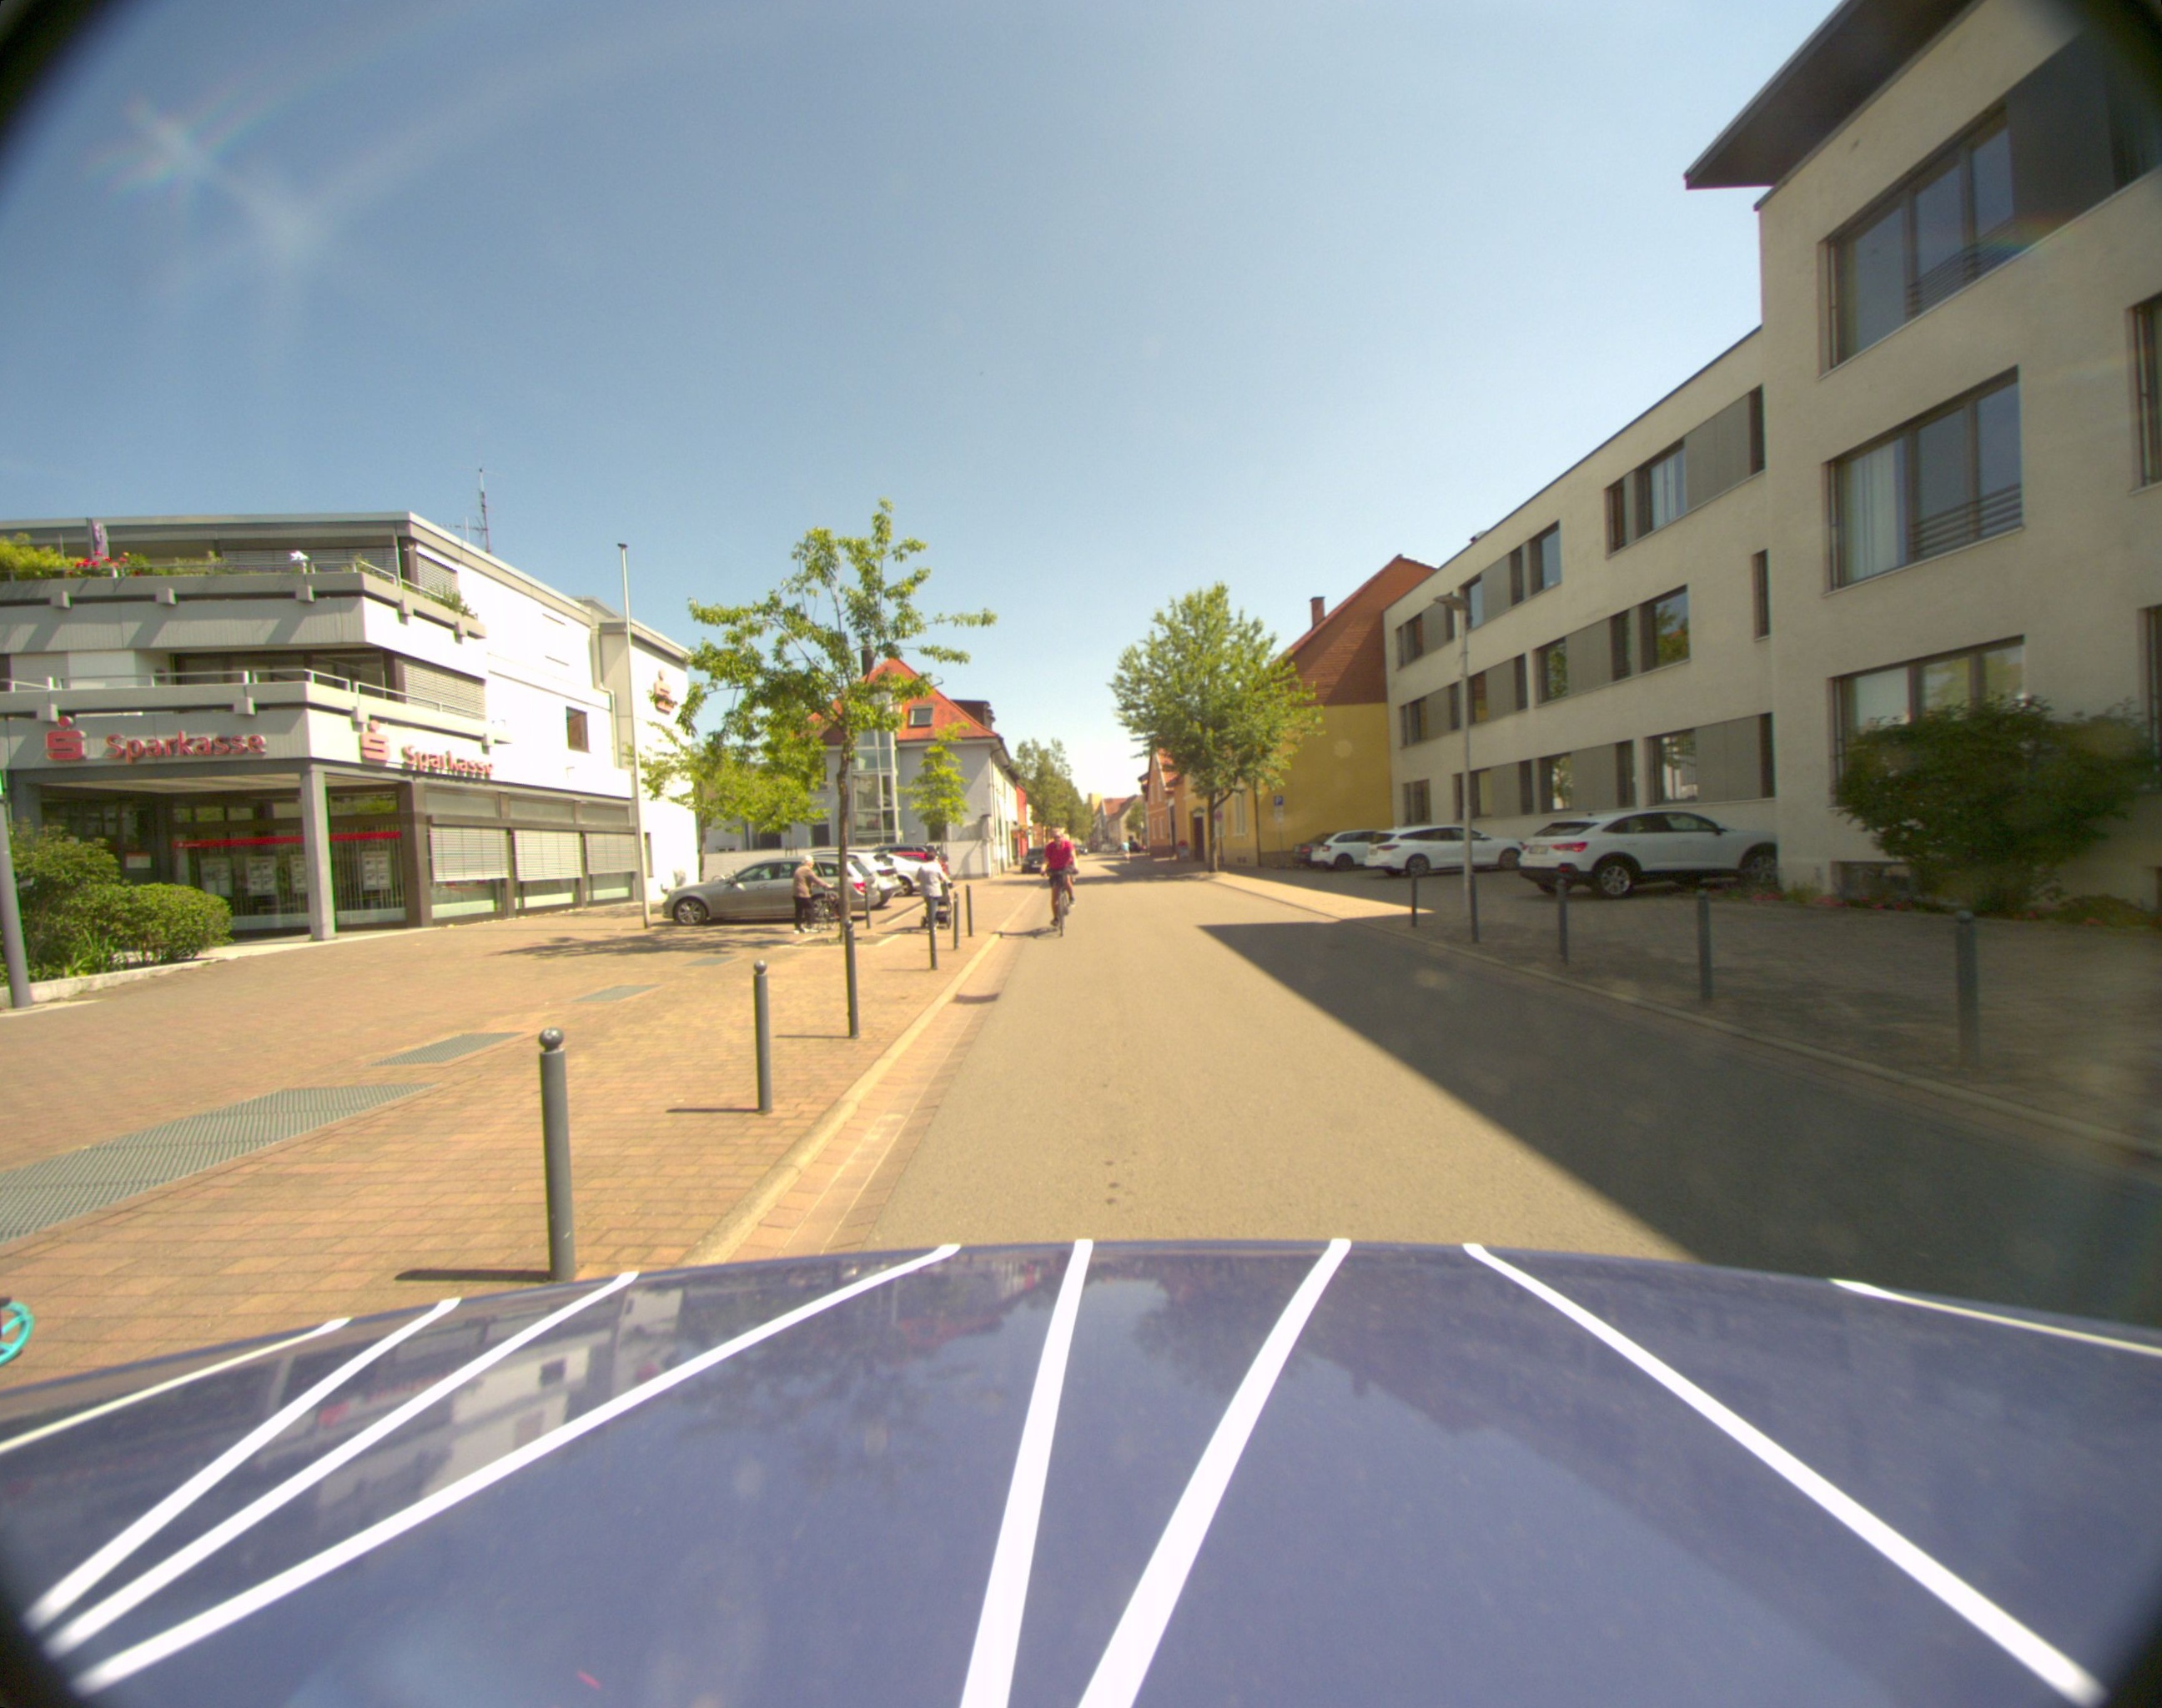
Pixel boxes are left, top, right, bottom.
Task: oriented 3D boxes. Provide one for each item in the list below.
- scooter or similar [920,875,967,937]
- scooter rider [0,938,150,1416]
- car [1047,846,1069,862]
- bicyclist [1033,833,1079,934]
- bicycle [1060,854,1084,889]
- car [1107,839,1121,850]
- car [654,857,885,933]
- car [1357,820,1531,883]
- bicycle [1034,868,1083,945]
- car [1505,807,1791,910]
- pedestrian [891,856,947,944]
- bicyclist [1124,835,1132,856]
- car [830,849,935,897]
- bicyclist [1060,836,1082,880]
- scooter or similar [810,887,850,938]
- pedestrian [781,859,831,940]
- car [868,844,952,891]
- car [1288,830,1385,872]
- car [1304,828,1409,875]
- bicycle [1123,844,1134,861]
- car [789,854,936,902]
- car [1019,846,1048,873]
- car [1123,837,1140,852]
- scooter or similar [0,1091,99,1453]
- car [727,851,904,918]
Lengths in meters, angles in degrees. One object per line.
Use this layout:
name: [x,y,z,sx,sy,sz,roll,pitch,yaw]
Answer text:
scooter or similar: [-2.634,0.978,14.597,0.505,1.112,0.910,-1,1,16]
scooter rider: [-3.329,0.949,1.916,0.462,1.317,1.133,-2,1,2]
car: [-1.916,-0.030,62.264,1.530,1.298,3.248,-1,1,-6]
bicyclist: [-0.449,0.502,13.588,0.703,1.707,0.759,-4,2,-3]
bicycle: [-0.348,0.631,28.367,0.690,1.183,1.798,-4,2,-3]
car: [5.611,-1.606,129.889,1.999,1.696,3.999,-2,1,-1]
car: [-6.836,0.879,17.080,4.446,1.457,1.689,-1,2,-6]
car: [10.626,-0.089,22.423,4.324,1.470,1.513,-4,2,0]
bicycle: [-0.434,0.901,13.815,0.738,1.183,1.970,-4,2,-3]
car: [10.416,0.062,14.160,3.997,1.539,1.748,-4,1,-2]
pedestrian: [-2.907,0.796,13.724,0.512,1.507,1.049,-1,1,17]
bicyclist: [3.580,-0.656,58.090,0.538,1.630,0.551,-2,1,-2]
car: [-7.187,0.664,27.762,3.431,1.543,1.489,-2,1,-5]
bicyclist: [-0.381,0.143,28.420,0.703,1.573,0.877,-4,2,-3]
scooter or similar: [-4.962,1.146,15.006,0.548,0.940,0.535,-3,2,-40]
pedestrian: [-5.326,0.868,14.708,0.725,1.492,0.530,-3,2,-38]
car: [-6.672,0.518,29.902,3.041,1.727,1.344,-1,1,-5]
car: [9.998,-0.126,29.825,3.258,1.393,1.374,-4,1,-2]
car: [9.959,-0.105,27.615,3.139,1.442,1.642,-4,1,1]
bicycle: [3.608,-0.114,58.131,0.595,1.183,1.724,-3,2,-2]
car: [-7.139,0.759,25.228,4.446,1.434,1.655,-1,1,-8]
car: [-2.714,0.265,42.786,1.530,1.444,3.519,-1,1,-5]
car: [6.681,-1.264,100.113,1.826,1.805,3.999,-2,1,-1]
scooter or similar: [-3.281,1.220,1.867,0.412,0.960,0.960,-2,1,2]
car: [-6.841,0.756,19.946,4.047,1.551,1.711,-1,1,-6]
